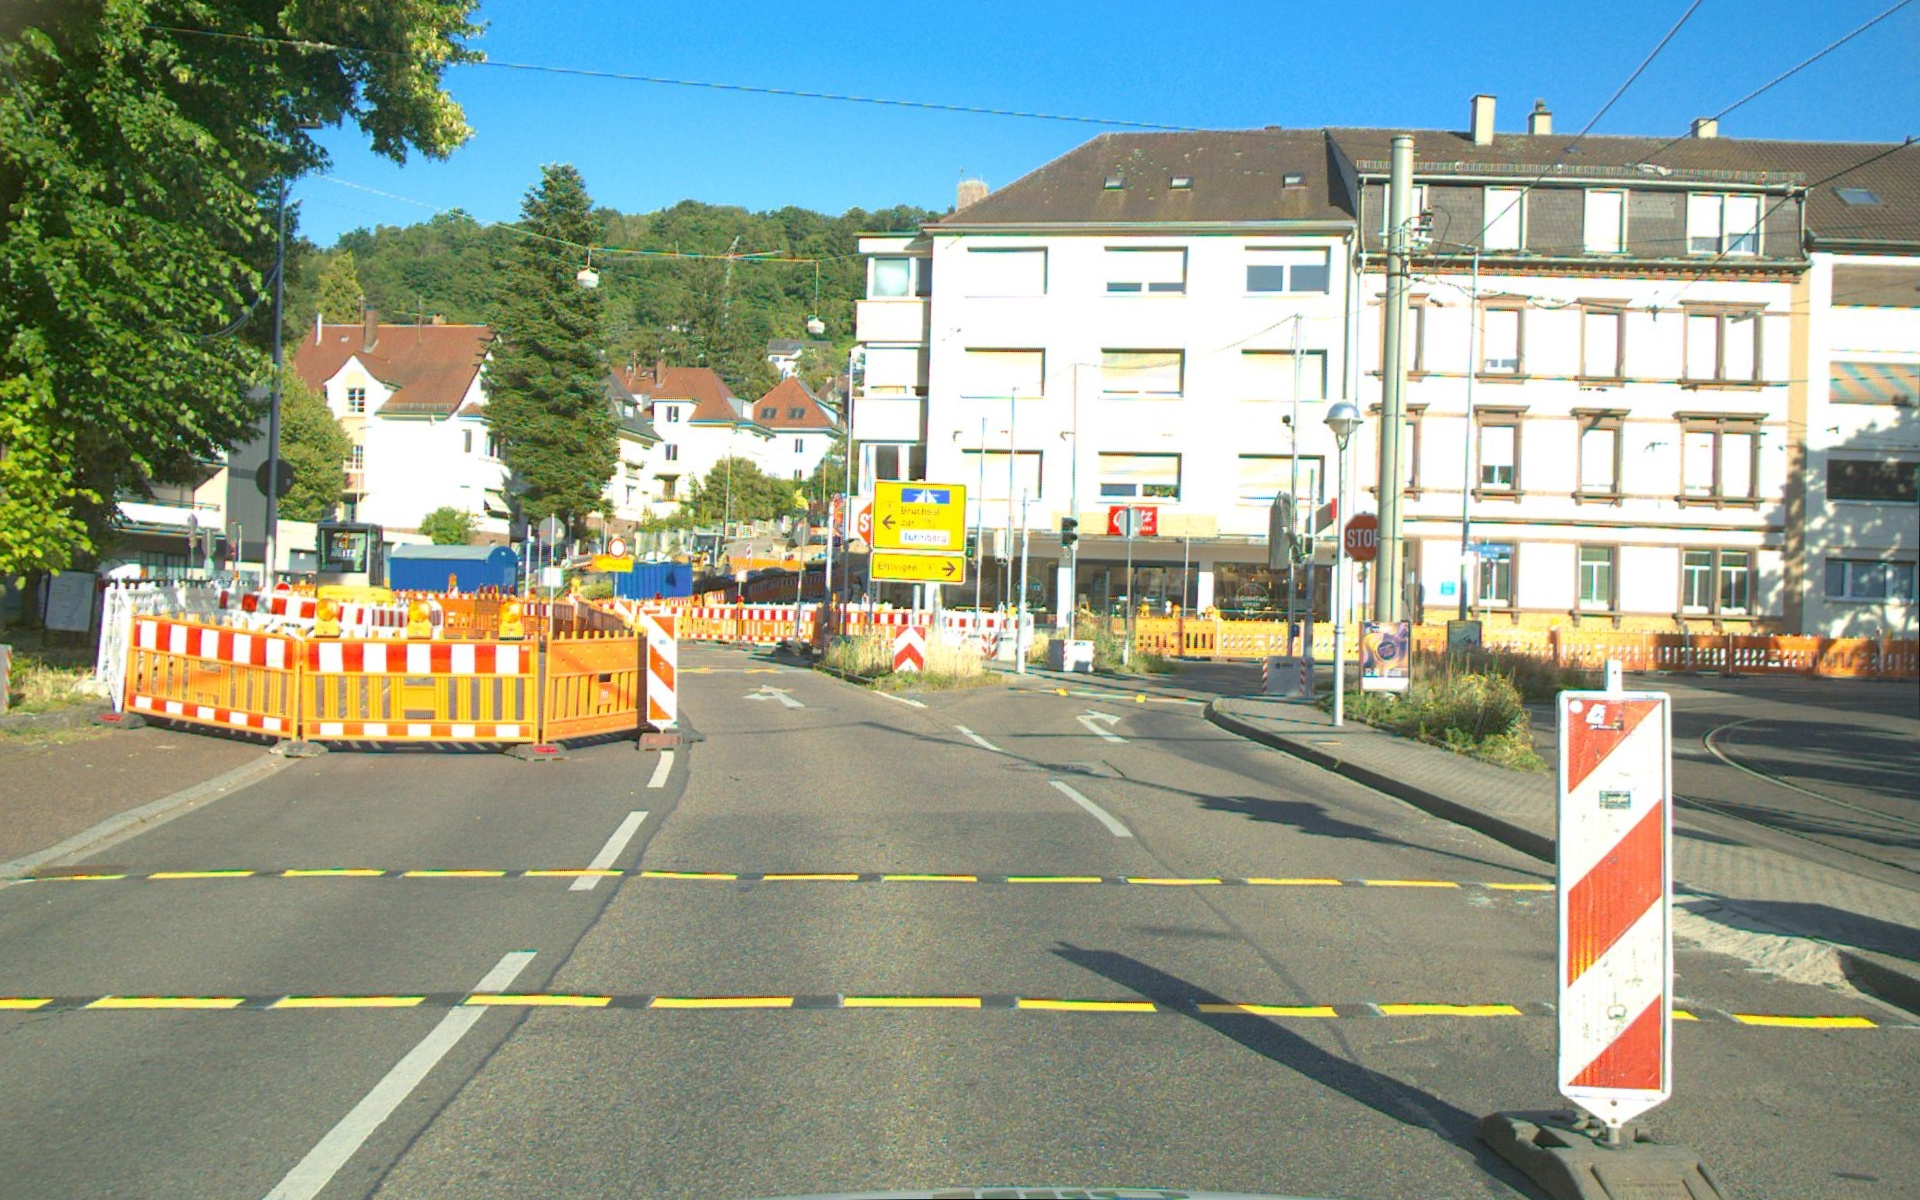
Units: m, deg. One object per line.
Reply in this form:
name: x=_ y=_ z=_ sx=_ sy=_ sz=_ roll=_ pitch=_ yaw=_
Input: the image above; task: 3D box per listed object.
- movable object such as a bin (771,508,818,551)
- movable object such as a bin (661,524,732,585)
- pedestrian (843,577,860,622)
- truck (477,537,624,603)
movable object such as a bin: x=-11.324 y=-4.846 z=113.630 sx=2.144 sy=2.737 sz=4.003 roll=1 pitch=0 yaw=9
movable object such as a bin: x=-12.584 y=-2.153 z=79.182 sx=2.144 sy=2.737 sz=4.003 roll=1 pitch=0 yaw=9
pedestrian: x=-4.348 y=-0.008 z=66.339 sx=0.627 sy=1.791 sz=0.718 roll=1 pitch=0 yaw=-1
truck: x=-16.743 y=-1.149 z=68.395 sx=2.306 sy=2.458 sz=9.159 roll=1 pitch=0 yaw=10
